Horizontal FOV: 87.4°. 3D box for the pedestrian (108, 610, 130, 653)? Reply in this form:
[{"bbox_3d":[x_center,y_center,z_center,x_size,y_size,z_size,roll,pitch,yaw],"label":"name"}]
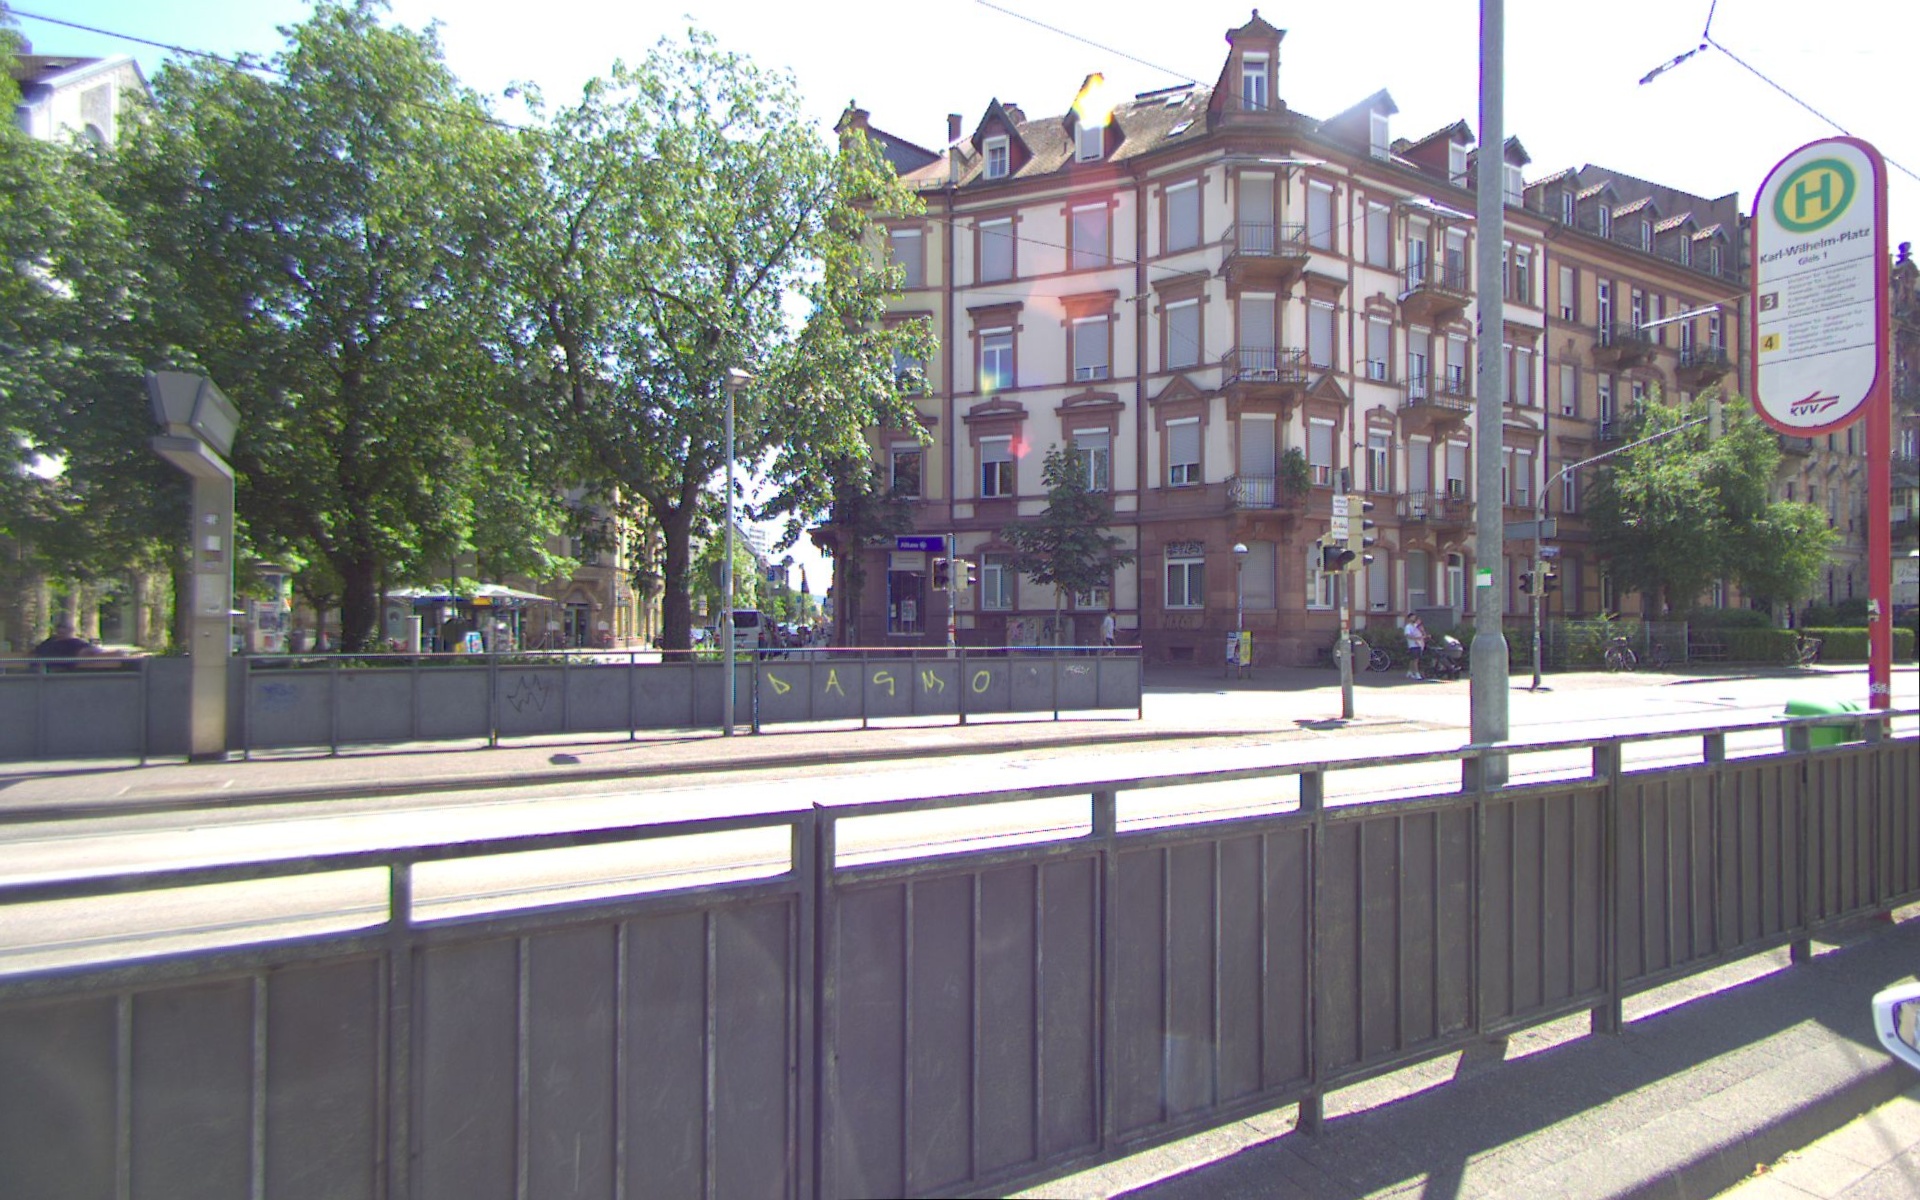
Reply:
[{"bbox_3d":[-32.978,1.234,39.387,0.554,1.644,0.510,1,-1,-30],"label":"pedestrian"}]

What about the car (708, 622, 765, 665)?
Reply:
[{"bbox_3d":[-8.200,1.574,37.060,1.512,1.461,3.739,1,-1,-5],"label":"car"}]

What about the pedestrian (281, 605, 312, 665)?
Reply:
[{"bbox_3d":[-23.098,1.222,34.960,0.704,2.040,0.810,0,-1,-21],"label":"pedestrian"}]

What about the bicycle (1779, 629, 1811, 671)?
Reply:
[{"bbox_3d":[28.795,1.696,34.678,0.583,1.374,2.433,0,-1,34],"label":"bicycle"}]

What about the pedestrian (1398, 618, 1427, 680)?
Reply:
[{"bbox_3d":[12.275,1.322,27.267,0.641,1.637,0.469,1,2,19],"label":"pedestrian"}]

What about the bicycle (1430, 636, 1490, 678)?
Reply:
[{"bbox_3d":[13.458,1.530,27.034,1.375,1.027,0.389,2,0,21],"label":"bicycle"}]

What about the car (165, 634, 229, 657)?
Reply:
[{"bbox_3d":[-30.968,1.847,40.798,0.847,0.877,1.909,0,-1,35],"label":"car"}]

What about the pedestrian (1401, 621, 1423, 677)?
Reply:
[{"bbox_3d":[12.542,1.345,27.899,0.497,1.536,0.469,1,-1,18],"label":"pedestrian"}]

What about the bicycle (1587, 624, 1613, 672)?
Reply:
[{"bbox_3d":[19.395,1.434,30.423,0.606,1.414,2.301,0,-1,34],"label":"bicycle"}]

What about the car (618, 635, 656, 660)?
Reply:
[{"bbox_3d":[-20.515,3.018,63.937,1.512,1.461,3.738,1,-1,-6],"label":"car"}]

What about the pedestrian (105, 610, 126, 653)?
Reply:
[{"bbox_3d":[-32.700,1.229,38.894,0.520,1.644,0.493,1,-1,-30],"label":"pedestrian"}]

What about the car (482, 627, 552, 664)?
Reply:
[{"bbox_3d":[-18.652,1.879,42.457,1.512,1.461,3.739,1,-1,-5],"label":"car"}]

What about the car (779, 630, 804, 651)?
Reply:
[{"bbox_3d":[-12.520,3.010,74.953,1.512,1.461,3.739,1,-1,-5],"label":"car"}]

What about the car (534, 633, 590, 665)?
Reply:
[{"bbox_3d":[-19.830,2.418,50.183,1.512,1.461,3.739,1,-1,-5],"label":"car"}]

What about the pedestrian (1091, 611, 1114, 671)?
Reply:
[{"bbox_3d":[4.364,1.244,30.755,0.500,1.791,0.527,0,-1,39],"label":"pedestrian"}]

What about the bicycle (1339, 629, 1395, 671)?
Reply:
[{"bbox_3d":[12.061,1.482,29.780,1.494,1.185,0.364,1,1,34],"label":"bicycle"}]

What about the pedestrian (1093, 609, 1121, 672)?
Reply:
[{"bbox_3d":[4.360,1.187,29.842,0.556,1.849,0.632,0,-1,39],"label":"pedestrian"}]

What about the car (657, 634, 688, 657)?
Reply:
[{"bbox_3d":[-20.352,3.217,71.210,1.512,1.461,3.738,1,-1,-6],"label":"car"}]

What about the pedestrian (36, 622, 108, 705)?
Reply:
[{"bbox_3d":[-14.487,1.024,16.399,0.607,1.304,0.646,1,-1,21],"label":"pedestrian"}]
